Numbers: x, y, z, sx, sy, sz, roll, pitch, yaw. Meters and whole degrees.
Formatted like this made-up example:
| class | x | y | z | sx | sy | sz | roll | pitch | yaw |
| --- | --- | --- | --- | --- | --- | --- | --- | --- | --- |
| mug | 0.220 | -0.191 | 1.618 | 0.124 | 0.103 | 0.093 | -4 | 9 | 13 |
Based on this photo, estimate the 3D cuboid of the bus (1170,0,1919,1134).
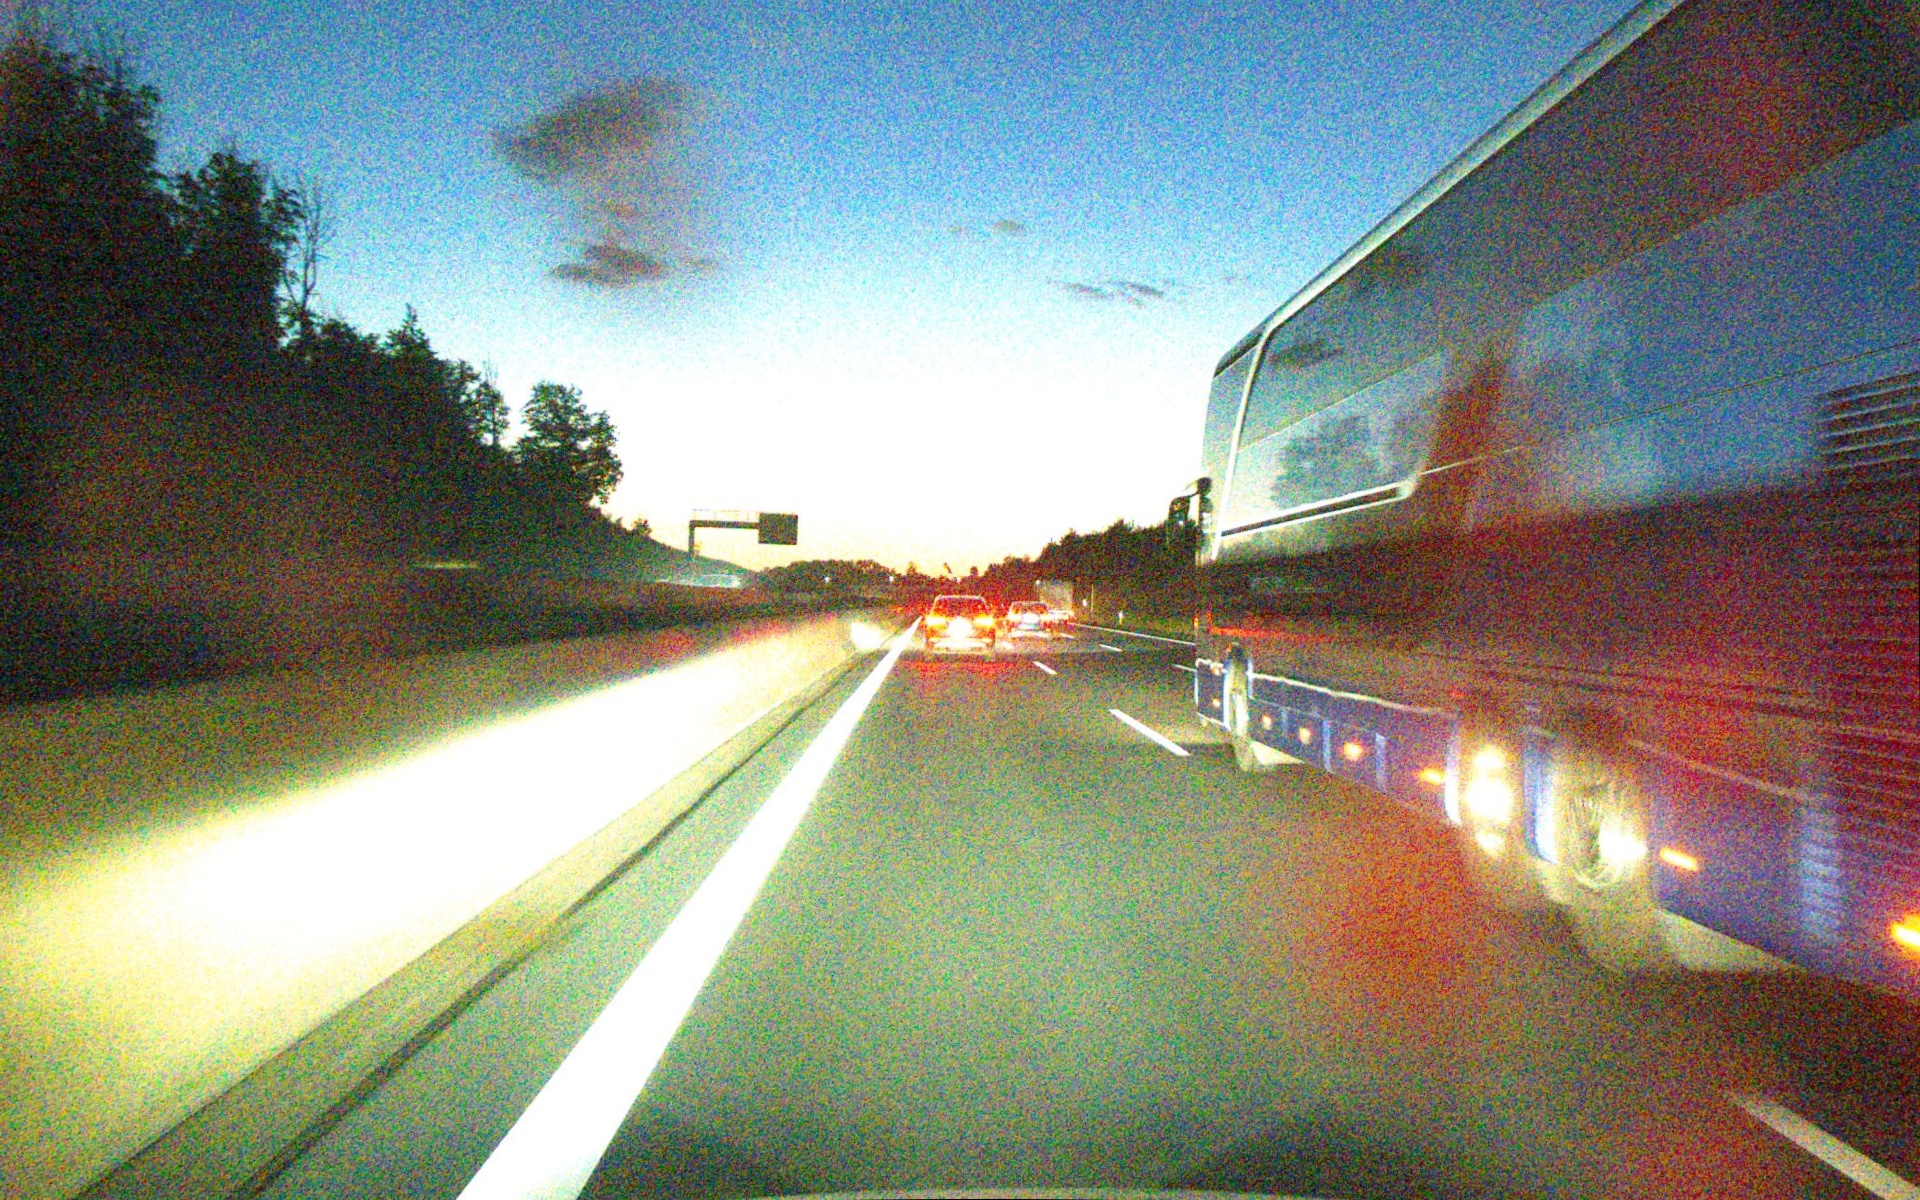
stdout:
| class | x | y | z | sx | sy | sz | roll | pitch | yaw |
| --- | --- | --- | --- | --- | --- | --- | --- | --- | --- |
| bus | 3.826 | -0.530 | 10.974 | 2.598 | 4.064 | 14.697 | 1 | 0 | -1 |

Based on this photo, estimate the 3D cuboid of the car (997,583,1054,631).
| class | x | y | z | sx | sy | sz | roll | pitch | yaw |
| --- | --- | --- | --- | --- | --- | --- | --- | --- | --- |
| car | 2.502 | 0.280 | 64.059 | 1.873 | 1.760 | 3.998 | 1 | 0 | -3 |

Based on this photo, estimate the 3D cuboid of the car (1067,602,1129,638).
| class | x | y | z | sx | sy | sz | roll | pitch | yaw |
| --- | --- | --- | --- | --- | --- | --- | --- | --- | --- |
| car | 5.248 | 0.742 | 63.322 | 1.873 | 1.297 | 3.998 | 1 | 0 | -3 |

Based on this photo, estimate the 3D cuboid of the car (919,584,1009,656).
| class | x | y | z | sx | sy | sz | roll | pitch | yaw |
| --- | --- | --- | --- | --- | --- | --- | --- | --- | --- |
| car | 0.046 | 0.492 | 41.520 | 2.063 | 1.646 | 4.202 | 2 | 0 | -2 |

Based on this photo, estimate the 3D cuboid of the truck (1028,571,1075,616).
| class | x | y | z | sx | sy | sz | roll | pitch | yaw |
| --- | --- | --- | --- | --- | --- | --- | --- | --- | --- |
| truck | 6.475 | -0.464 | 117.842 | 2.551 | 2.925 | 7.483 | 4 | 0 | -2 |
